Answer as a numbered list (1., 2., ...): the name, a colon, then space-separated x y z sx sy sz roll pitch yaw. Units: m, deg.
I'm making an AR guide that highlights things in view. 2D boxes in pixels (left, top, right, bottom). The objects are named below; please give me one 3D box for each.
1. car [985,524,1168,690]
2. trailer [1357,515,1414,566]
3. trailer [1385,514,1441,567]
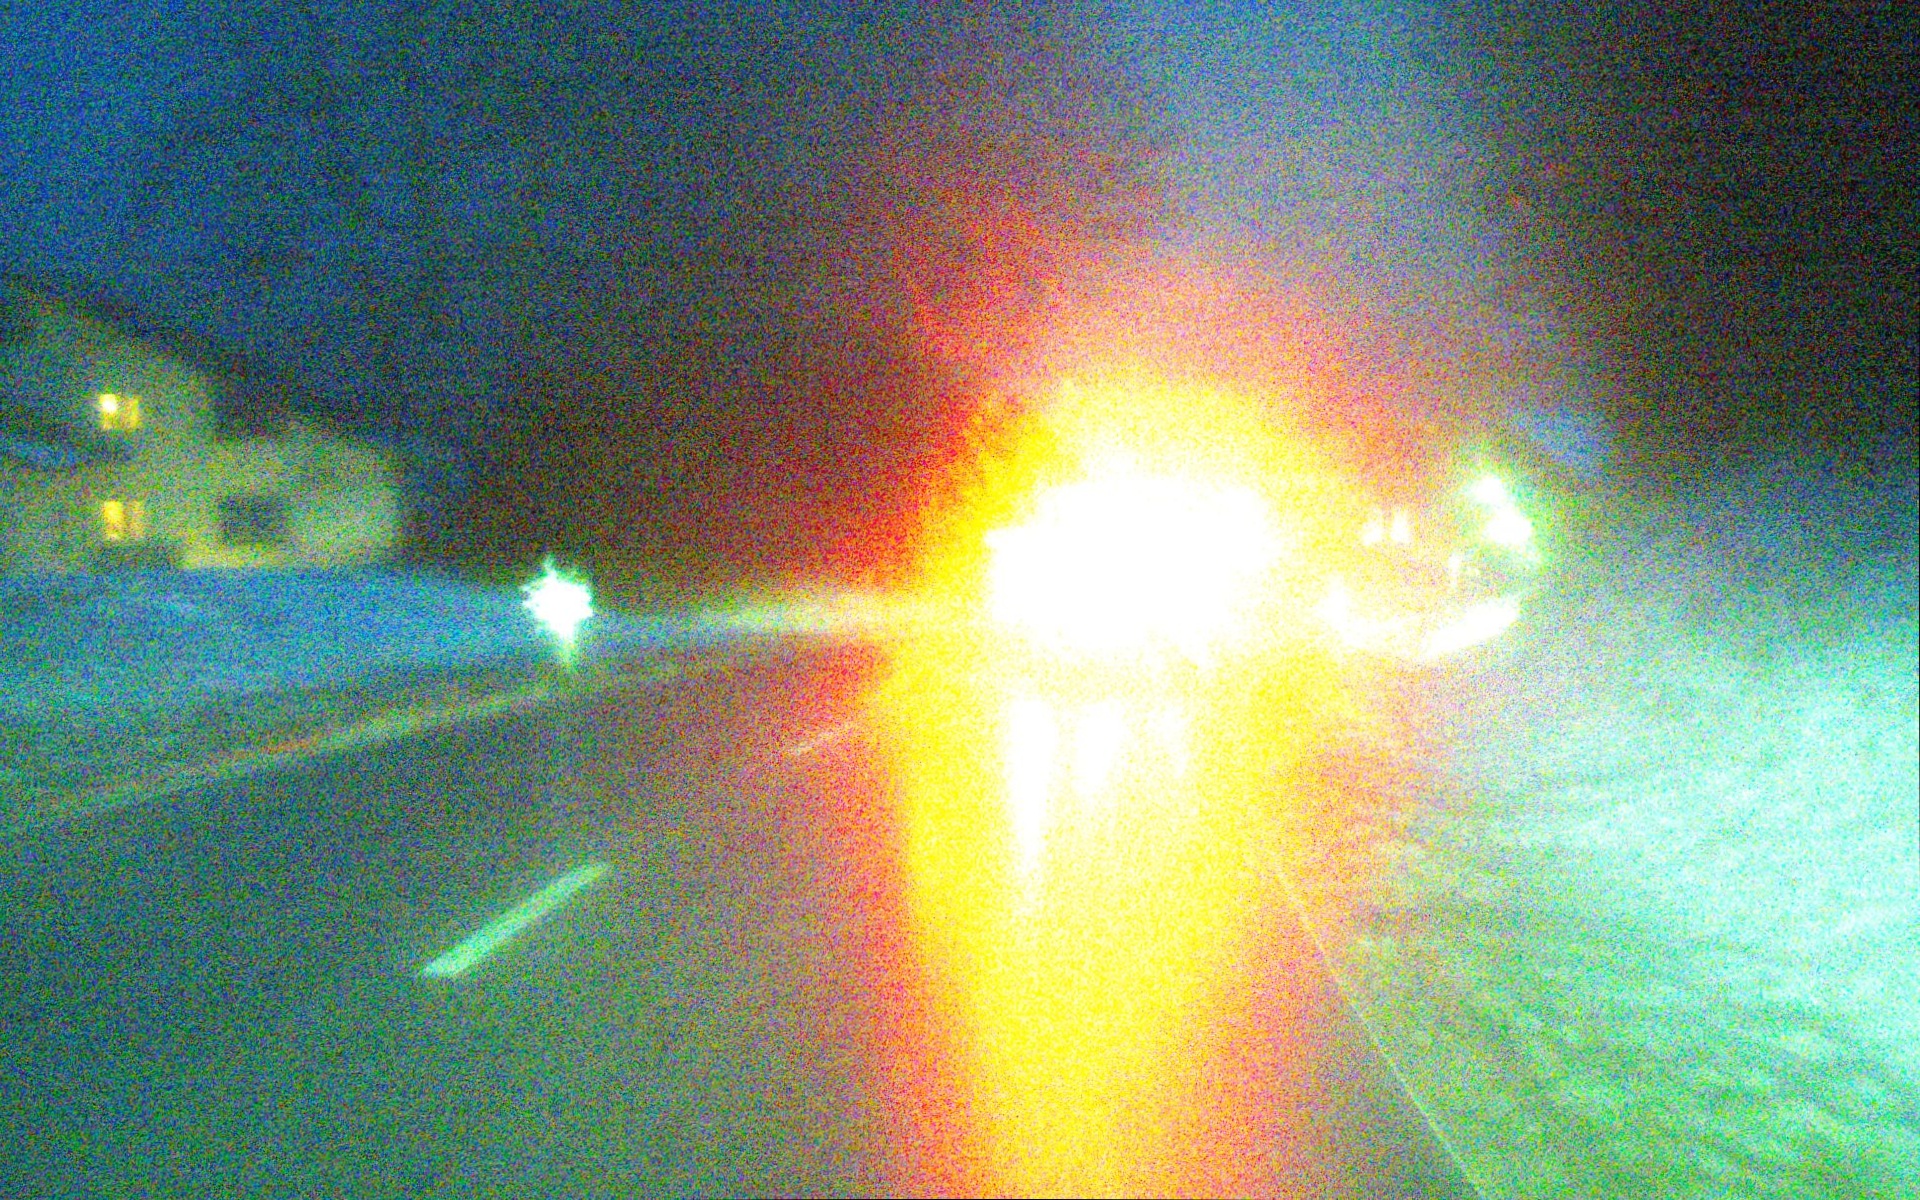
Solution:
1. car: 1.263 0.036 35.975 1.801 1.623 3.615 -1 1 3
2. trailer: 19.888 -2.786 160.963 1.629 2.356 4.654 1 1 -6
3. trailer: 20.557 -2.688 156.041 1.605 2.344 4.432 1 1 -4
